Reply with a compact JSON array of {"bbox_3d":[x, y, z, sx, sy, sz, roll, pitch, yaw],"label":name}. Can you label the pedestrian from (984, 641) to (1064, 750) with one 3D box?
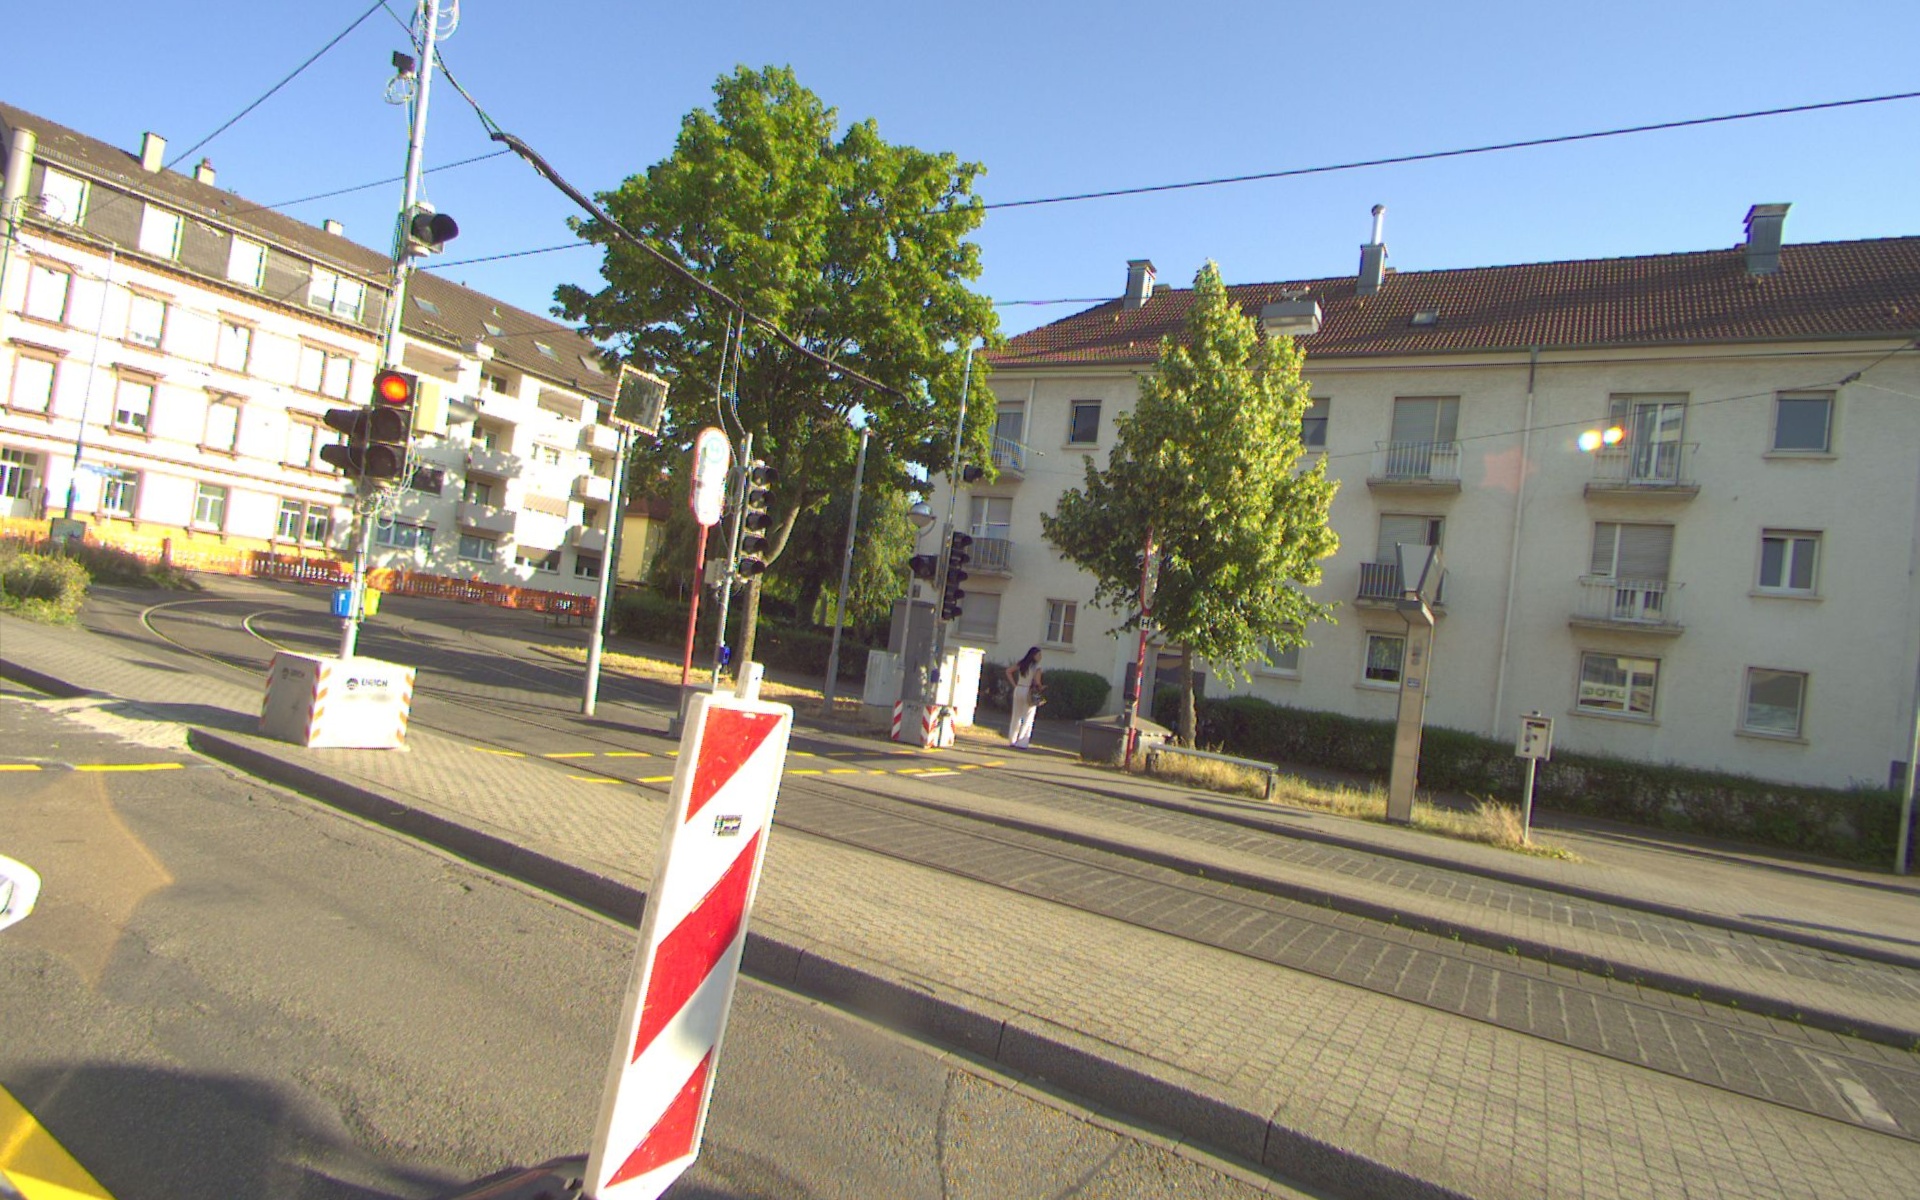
[{"bbox_3d":[1.048,1.558,16.439,0.815,1.639,0.788,6,-1,41],"label":"pedestrian"}]
